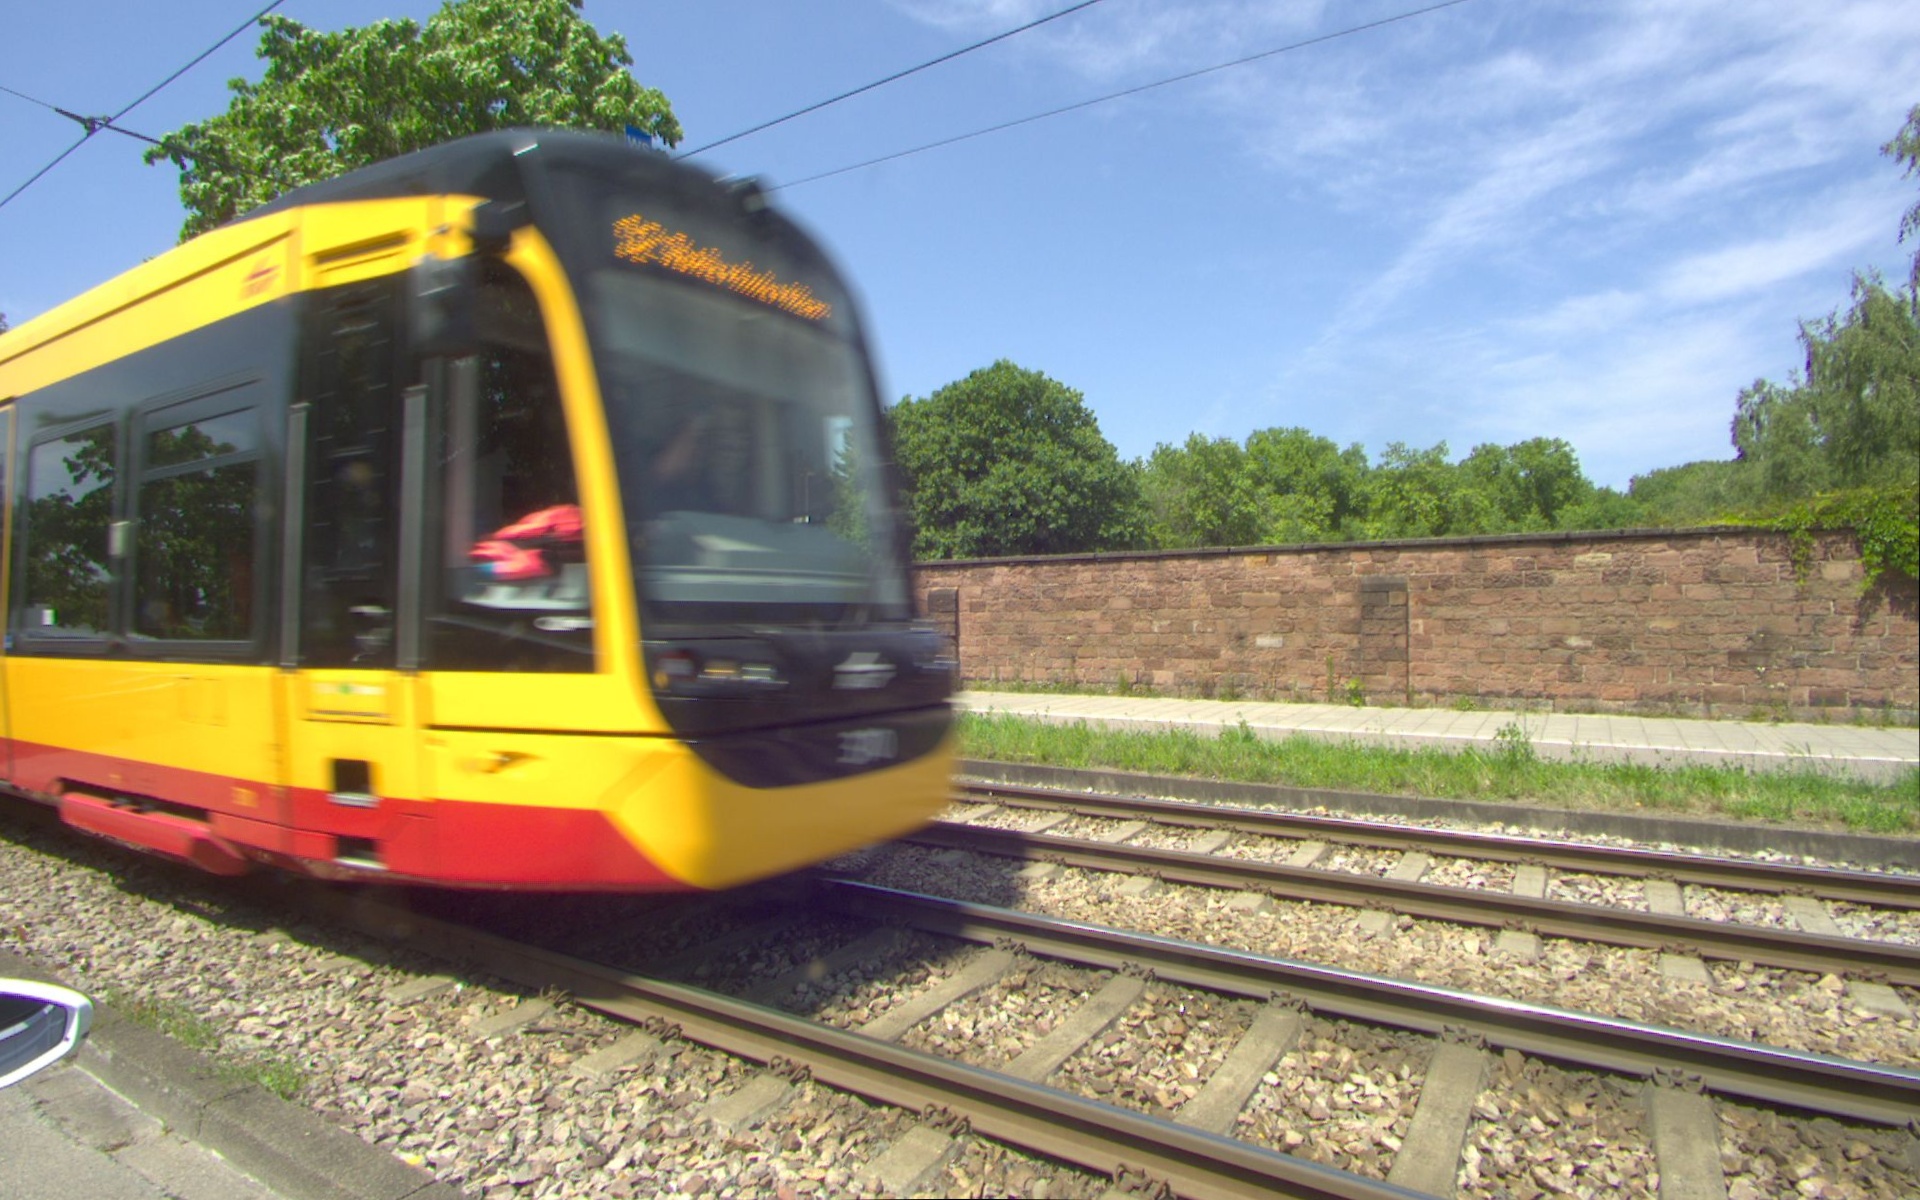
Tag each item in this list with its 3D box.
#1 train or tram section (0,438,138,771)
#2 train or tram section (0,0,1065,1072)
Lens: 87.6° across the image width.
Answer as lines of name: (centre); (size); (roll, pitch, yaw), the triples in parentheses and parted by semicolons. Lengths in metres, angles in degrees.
train or tram section: (-15.145, 0.096, 13.772); (10.795, 3.655, 2.736); (-1, -2, 33)
train or tram section: (-5.520, -0.375, 7.487); (12.688, 3.655, 2.736); (-1, -2, 33)
